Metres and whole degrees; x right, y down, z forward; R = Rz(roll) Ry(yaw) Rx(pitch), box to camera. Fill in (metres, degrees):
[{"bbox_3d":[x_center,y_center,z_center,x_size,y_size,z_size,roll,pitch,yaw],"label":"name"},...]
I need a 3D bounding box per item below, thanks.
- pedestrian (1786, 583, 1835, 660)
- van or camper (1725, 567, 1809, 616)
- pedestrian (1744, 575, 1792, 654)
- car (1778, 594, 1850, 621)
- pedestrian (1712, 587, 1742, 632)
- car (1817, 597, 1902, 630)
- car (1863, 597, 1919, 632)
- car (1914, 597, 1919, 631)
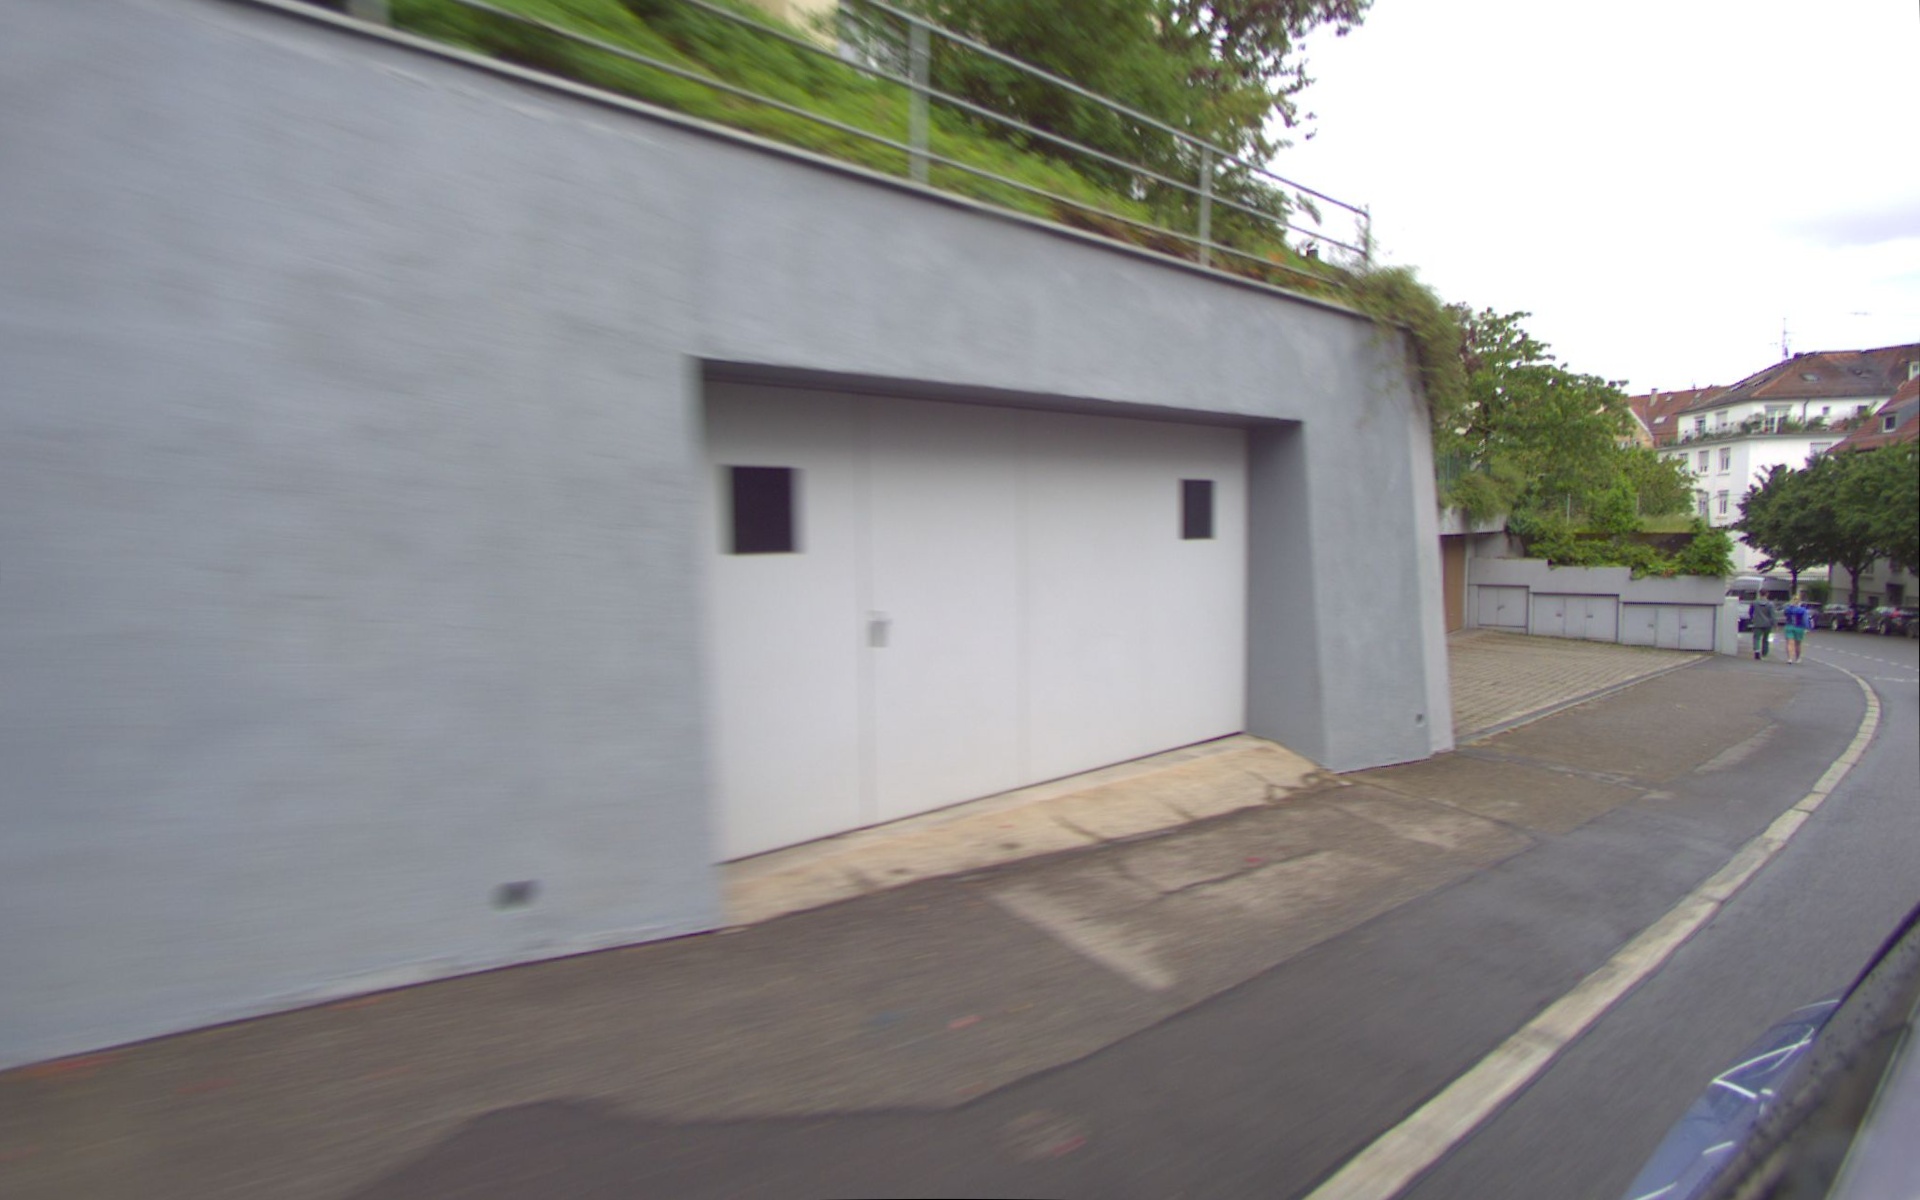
[{"bbox_3d":[20.652,0.498,24.600,0.774,1.779,0.998,5,3,38],"label":"pedestrian"},{"bbox_3d":[50.809,-0.574,63.884,2.045,2.895,5.718,2,1,16],"label":"van or camper"},{"bbox_3d":[20.098,0.349,25.192,0.775,1.854,1.234,5,3,38],"label":"pedestrian"},{"bbox_3d":[48.794,0.388,57.915,1.568,1.427,4.028,1,1,15],"label":"car"},{"bbox_3d":[32.098,0.381,42.342,0.896,1.873,0.793,1,1,33],"label":"pedestrian"},{"bbox_3d":[46.865,0.655,52.831,1.771,1.512,4.467,2,1,21],"label":"car"},{"bbox_3d":[44.798,0.661,47.935,1.775,1.512,4.603,0,1,26],"label":"car"},{"bbox_3d":[42.605,0.659,42.972,1.775,1.512,4.323,1,1,26],"label":"car"}]
